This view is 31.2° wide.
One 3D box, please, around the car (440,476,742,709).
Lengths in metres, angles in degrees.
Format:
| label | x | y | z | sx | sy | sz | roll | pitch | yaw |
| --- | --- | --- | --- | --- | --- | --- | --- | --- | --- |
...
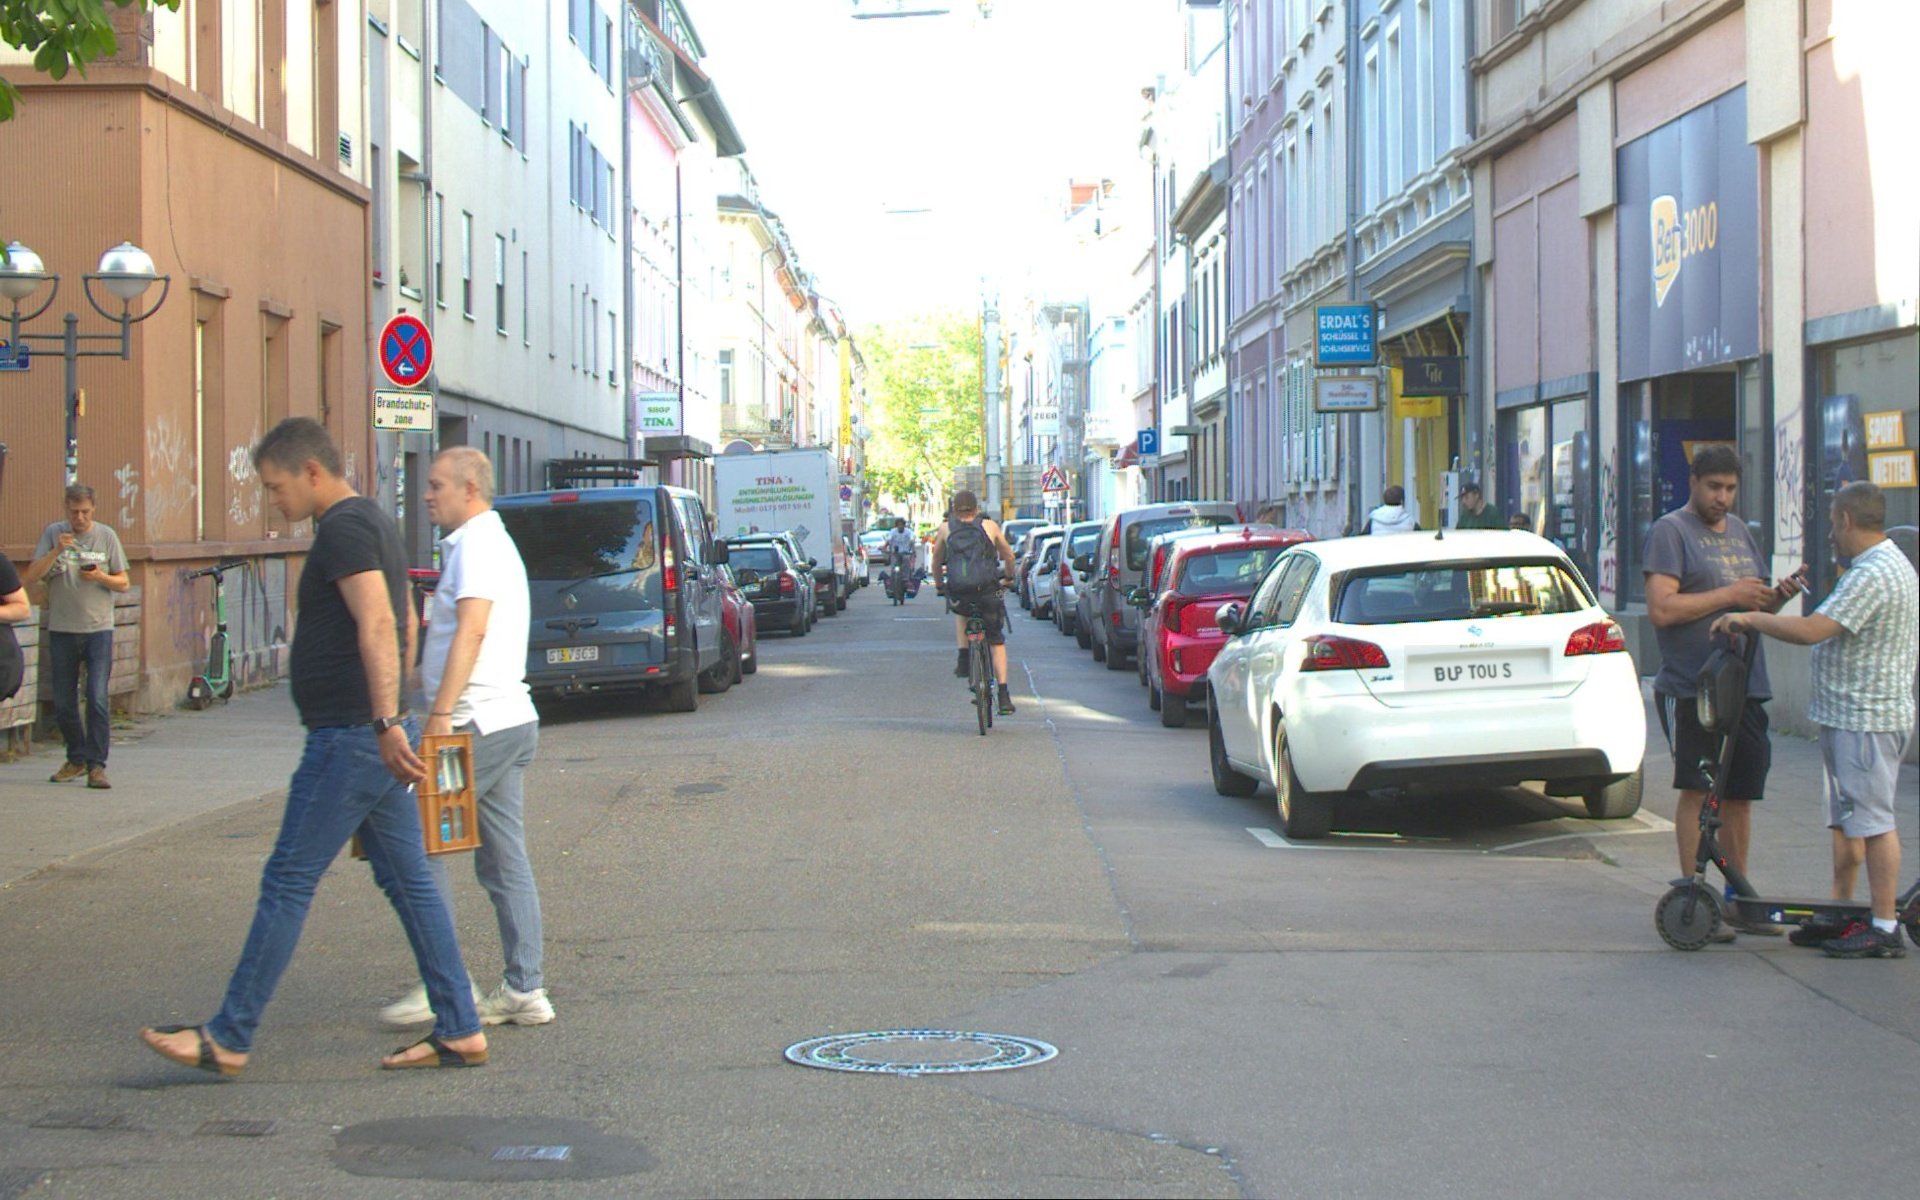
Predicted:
| label | x | y | z | sx | sy | sz | roll | pitch | yaw |
| --- | --- | --- | --- | --- | --- | --- | --- | --- | --- |
| car | -3.173 | -0.130 | 30.607 | 2.020 | 1.873 | 5.297 | 1 | 2 | 1 |

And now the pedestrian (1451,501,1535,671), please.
| label | x | y | z | sx | sy | sz | roll | pitch | yaw |
| --- | --- | --- | --- | --- | --- | --- | --- | --- | --- |
| pedestrian | 4.830 | -0.129 | 31.174 | 0.587 | 1.524 | 0.659 | 1 | 1 | -6 |

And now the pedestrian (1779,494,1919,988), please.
| label | x | y | z | sx | sy | sz | roll | pitch | yaw |
| --- | --- | --- | --- | --- | --- | --- | --- | --- | --- |
| pedestrian | 3.190 | 0.462 | 11.753 | 0.528 | 1.633 | 0.564 | 1 | 1 | 44 |

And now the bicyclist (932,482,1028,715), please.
| label | x | y | z | sx | sy | sz | roll | pitch | yaw |
| --- | --- | --- | --- | --- | --- | --- | --- | --- | --- |
| bicyclist | 0.137 | -0.019 | 25.276 | 0.667 | 1.671 | 1.097 | 1 | 1 | -1 |

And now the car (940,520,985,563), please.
| label | x | y | z | sx | sy | sz | roll | pitch | yaw |
| --- | --- | --- | --- | --- | --- | --- | --- | --- | --- |
| car | 0.091 | -2.201 | 128.293 | 1.611 | 1.554 | 3.610 | -1 | 1 | -1 |

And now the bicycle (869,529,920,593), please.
| label | x | y | z | sx | sy | sz | roll | pitch | yaw |
| --- | --- | --- | --- | --- | --- | --- | --- | --- | --- |
| bicycle | -1.410 | -0.858 | 74.277 | 0.977 | 1.310 | 2.555 | -2 | 1 | 1 |

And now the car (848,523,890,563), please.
| label | x | y | z | sx | sy | sz | roll | pitch | yaw |
| --- | --- | --- | --- | --- | --- | --- | --- | --- | --- |
| car | -3.990 | -2.503 | 151.414 | 1.750 | 1.678 | 3.796 | -1 | 1 | -1 |

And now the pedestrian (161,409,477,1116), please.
| label | x | y | z | sx | sy | sz | roll | pitch | yaw |
| --- | --- | --- | --- | --- | --- | --- | --- | --- | --- |
| pedestrian | -1.725 | 0.415 | 9.373 | 0.693 | 1.819 | 1.003 | 1 | 1 | -2 |

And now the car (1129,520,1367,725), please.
| label | x | y | z | sx | sy | sz | roll | pitch | yaw |
| --- | --- | --- | --- | --- | --- | --- | --- | --- | --- |
| car | 2.309 | 0.156 | 28.314 | 1.606 | 1.567 | 3.554 | 1 | 1 | -1 |

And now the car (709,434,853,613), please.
| label | x | y | z | sx | sy | sz | roll | pitch | yaw |
| --- | --- | --- | --- | --- | --- | --- | --- | --- | --- |
| car | -3.484 | -1.490 | 68.326 | 2.343 | 3.280 | 7.154 | -2 | 1 | 0 |

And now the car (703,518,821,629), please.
| label | x | y | z | sx | sy | sz | roll | pitch | yaw |
| --- | --- | --- | --- | --- | --- | --- | --- | --- | --- |
| car | -3.285 | -0.476 | 57.626 | 1.716 | 1.644 | 4.246 | -3 | 2 | -1 |

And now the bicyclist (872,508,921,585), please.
| label | x | y | z | sx | sy | sz | roll | pitch | yaw |
| --- | --- | --- | --- | --- | --- | --- | --- | --- | --- |
| bicyclist | -1.366 | -1.159 | 74.054 | 0.950 | 1.622 | 0.953 | -2 | 1 | 1 |

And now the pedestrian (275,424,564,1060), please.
| label | x | y | z | sx | sy | sz | roll | pitch | yaw |
| --- | --- | --- | --- | --- | --- | --- | --- | --- | --- |
| pedestrian | -1.600 | 0.408 | 10.264 | 0.761 | 1.829 | 0.688 | 1 | 1 | -2 |

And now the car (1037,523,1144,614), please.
| label | x | y | z | sx | sy | sz | roll | pitch | yaw |
| --- | --- | --- | --- | --- | --- | --- | --- | --- | --- |
| car | 2.362 | -0.579 | 62.915 | 1.686 | 1.538 | 4.046 | -2 | 1 | -1 |

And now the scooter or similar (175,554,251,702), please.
| label | x | y | z | sx | sy | sz | roll | pitch | yaw |
| --- | --- | --- | --- | --- | --- | --- | --- | --- | --- |
| scooter or similar | -6.275 | 0.223 | 28.926 | 0.347 | 1.212 | 1.392 | 1 | 1 | -1 |

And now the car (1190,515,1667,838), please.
| label | x | y | z | sx | sy | sz | roll | pitch | yaw |
| --- | --- | --- | --- | --- | --- | --- | --- | --- | --- |
| car | 2.355 | 0.338 | 18.316 | 1.787 | 1.511 | 4.137 | 1 | 1 | -3 |

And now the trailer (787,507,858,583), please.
| label | x | y | z | sx | sy | sz | roll | pitch | yaw |
| --- | --- | --- | --- | --- | --- | --- | --- | --- | --- |
| trailer | -3.897 | -1.565 | 97.949 | 1.882 | 2.085 | 3.737 | -1 | 1 | -1 |

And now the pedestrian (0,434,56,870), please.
| label | x | y | z | sx | sy | sz | roll | pitch | yaw |
| --- | --- | --- | --- | --- | --- | --- | --- | --- | --- |
| pedestrian | -4.420 | 0.216 | 15.078 | 0.716 | 1.867 | 0.720 | 1 | 1 | -1 |

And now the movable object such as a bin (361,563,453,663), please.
| label | x | y | z | sx | sy | sz | roll | pitch | yaw |
| --- | --- | --- | --- | --- | --- | --- | --- | --- | --- |
| movable object such as a bin | -6.038 | 0.137 | 37.558 | 0.760 | 1.063 | 0.651 | 1 | 1 | 19 |

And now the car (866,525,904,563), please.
| label | x | y | z | sx | sy | sz | roll | pitch | yaw |
| --- | --- | --- | --- | --- | --- | --- | --- | --- | --- |
| car | -3.661 | -2.730 | 168.351 | 1.750 | 1.815 | 3.796 | -1 | 1 | -1 |

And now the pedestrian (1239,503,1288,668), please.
| label | x | y | z | sx | sy | sz | roll | pitch | yaw |
| --- | --- | --- | --- | --- | --- | --- | --- | --- | --- |
| pedestrian | 3.157 | -0.154 | 35.796 | 0.441 | 1.698 | 0.655 | 1 | 1 | 0 |

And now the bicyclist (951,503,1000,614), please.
| label | x | y | z | sx | sy | sz | roll | pitch | yaw |
| --- | --- | --- | --- | --- | --- | --- | --- | --- | --- |
| bicyclist | 0.221 | -0.591 | 49.151 | 0.671 | 1.562 | 0.716 | 1 | 1 | -1 |

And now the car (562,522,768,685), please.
| label | x | y | z | sx | sy | sz | roll | pitch | yaw |
| --- | --- | --- | --- | --- | --- | --- | --- | --- | --- |
| car | -3.028 | 0.015 | 35.944 | 1.750 | 1.517 | 3.869 | -3 | 1 | 0 |

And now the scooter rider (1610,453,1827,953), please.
| label | x | y | z | sx | sy | sz | roll | pitch | yaw |
| --- | --- | --- | --- | --- | --- | --- | --- | --- | --- |
| scooter rider | 2.781 | 0.359 | 12.591 | 0.564 | 1.772 | 0.610 | 1 | 1 | 35 |

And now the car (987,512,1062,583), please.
| label | x | y | z | sx | sy | sz | roll | pitch | yaw |
| --- | --- | --- | --- | --- | --- | --- | --- | --- | --- |
| car | 1.763 | -1.448 | 94.680 | 1.750 | 1.872 | 3.973 | -1 | 1 | -3 |

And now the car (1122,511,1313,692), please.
| label | x | y | z | sx | sy | sz | roll | pitch | yaw |
| --- | --- | --- | --- | --- | --- | --- | --- | --- | --- |
| car | 2.407 | -0.003 | 32.794 | 1.570 | 1.551 | 3.314 | -3 | 1 | 2 |

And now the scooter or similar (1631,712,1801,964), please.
| label | x | y | z | sx | sy | sz | roll | pitch | yaw |
| --- | --- | --- | --- | --- | --- | --- | --- | --- | --- |
| scooter or similar | 2.698 | 0.837 | 12.324 | 0.393 | 0.825 | 0.926 | 1 | 1 | 0 |

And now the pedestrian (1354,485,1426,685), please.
| label | x | y | z | sx | sy | sz | roll | pitch | yaw |
| --- | --- | --- | --- | --- | --- | --- | --- | --- | --- |
| pedestrian | 3.779 | -0.133 | 30.199 | 0.561 | 1.734 | 0.427 | 1 | 1 | 14 |

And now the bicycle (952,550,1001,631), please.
| label | x | y | z | sx | sy | sz | roll | pitch | yaw |
| --- | --- | --- | --- | --- | --- | --- | --- | --- | --- |
| bicycle | 0.227 | -0.146 | 49.130 | 0.648 | 1.125 | 2.136 | 1 | 1 | -1 |

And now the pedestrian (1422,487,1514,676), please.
| label | x | y | z | sx | sy | sz | roll | pitch | yaw |
| --- | --- | --- | --- | --- | --- | --- | --- | --- | --- |
| pedestrian | 4.712 | -0.171 | 31.883 | 0.628 | 1.734 | 0.659 | 0 | 1 | -13 |

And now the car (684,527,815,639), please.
| label | x | y | z | sx | sy | sz | roll | pitch | yaw |
| --- | --- | --- | --- | --- | --- | --- | --- | --- | --- |
| car | -3.149 | -0.301 | 52.141 | 1.716 | 1.473 | 4.499 | -3 | 2 | -1 |

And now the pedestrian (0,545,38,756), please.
| label | x | y | z | sx | sy | sz | roll | pitch | yaw |
| --- | --- | --- | --- | --- | --- | --- | --- | --- | --- |
| pedestrian | -6.820 | 0.341 | 23.797 | 0.705 | 1.440 | 0.617 | 1 | 1 | -1 |

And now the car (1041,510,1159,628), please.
| label | x | y | z | sx | sy | sz | roll | pitch | yaw |
| --- | --- | --- | --- | --- | --- | --- | --- | --- | --- |
| car | 2.090 | -0.474 | 52.059 | 1.556 | 1.706 | 3.559 | 1 | 1 | -1 |

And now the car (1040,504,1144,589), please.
| label | x | y | z | sx | sy | sz | roll | pitch | yaw |
| --- | --- | --- | --- | --- | --- | --- | --- | --- | --- |
| car | 2.718 | -1.126 | 71.459 | 1.918 | 1.700 | 4.366 | -1 | 1 | -1 |

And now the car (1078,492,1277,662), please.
| label | x | y | z | sx | sy | sz | roll | pitch | yaw |
| --- | --- | --- | --- | --- | --- | --- | --- | --- | --- |
| car | 2.393 | -0.270 | 38.824 | 1.899 | 1.787 | 4.315 | 1 | 1 | -1 |

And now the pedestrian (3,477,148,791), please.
| label | x | y | z | sx | sy | sz | roll | pitch | yaw |
| --- | --- | --- | --- | --- | --- | --- | --- | --- | --- |
| pedestrian | -5.285 | 0.196 | 20.574 | 0.646 | 1.827 | 0.697 | 2 | 0 | -1 |

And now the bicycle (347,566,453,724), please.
| label | x | y | z | sx | sy | sz | roll | pitch | yaw |
| --- | --- | --- | --- | --- | --- | --- | --- | --- | --- |
| bicycle | -4.521 | 0.341 | 27.687 | 0.550 | 1.212 | 1.989 | 0 | 1 | -18 |

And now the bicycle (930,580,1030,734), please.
| label | x | y | z | sx | sy | sz | roll | pitch | yaw |
| --- | --- | --- | --- | --- | --- | --- | --- | --- | --- |
| bicycle | 0.134 | 0.400 | 25.288 | 0.677 | 1.071 | 1.942 | 1 | 1 | -1 |

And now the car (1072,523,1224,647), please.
| label | x | y | z | sx | sy | sz | roll | pitch | yaw |
| --- | --- | --- | --- | --- | --- | --- | --- | --- | --- |
| car | 2.365 | -0.209 | 43.932 | 1.552 | 1.506 | 3.612 | 1 | 1 | -3 |

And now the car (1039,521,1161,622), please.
| label | x | y | z | sx | sy | sz | roll | pitch | yaw |
| --- | --- | --- | --- | --- | --- | --- | --- | --- | --- |
| car | 2.277 | -0.484 | 56.901 | 1.696 | 1.538 | 4.629 | -2 | 1 | -1 |
